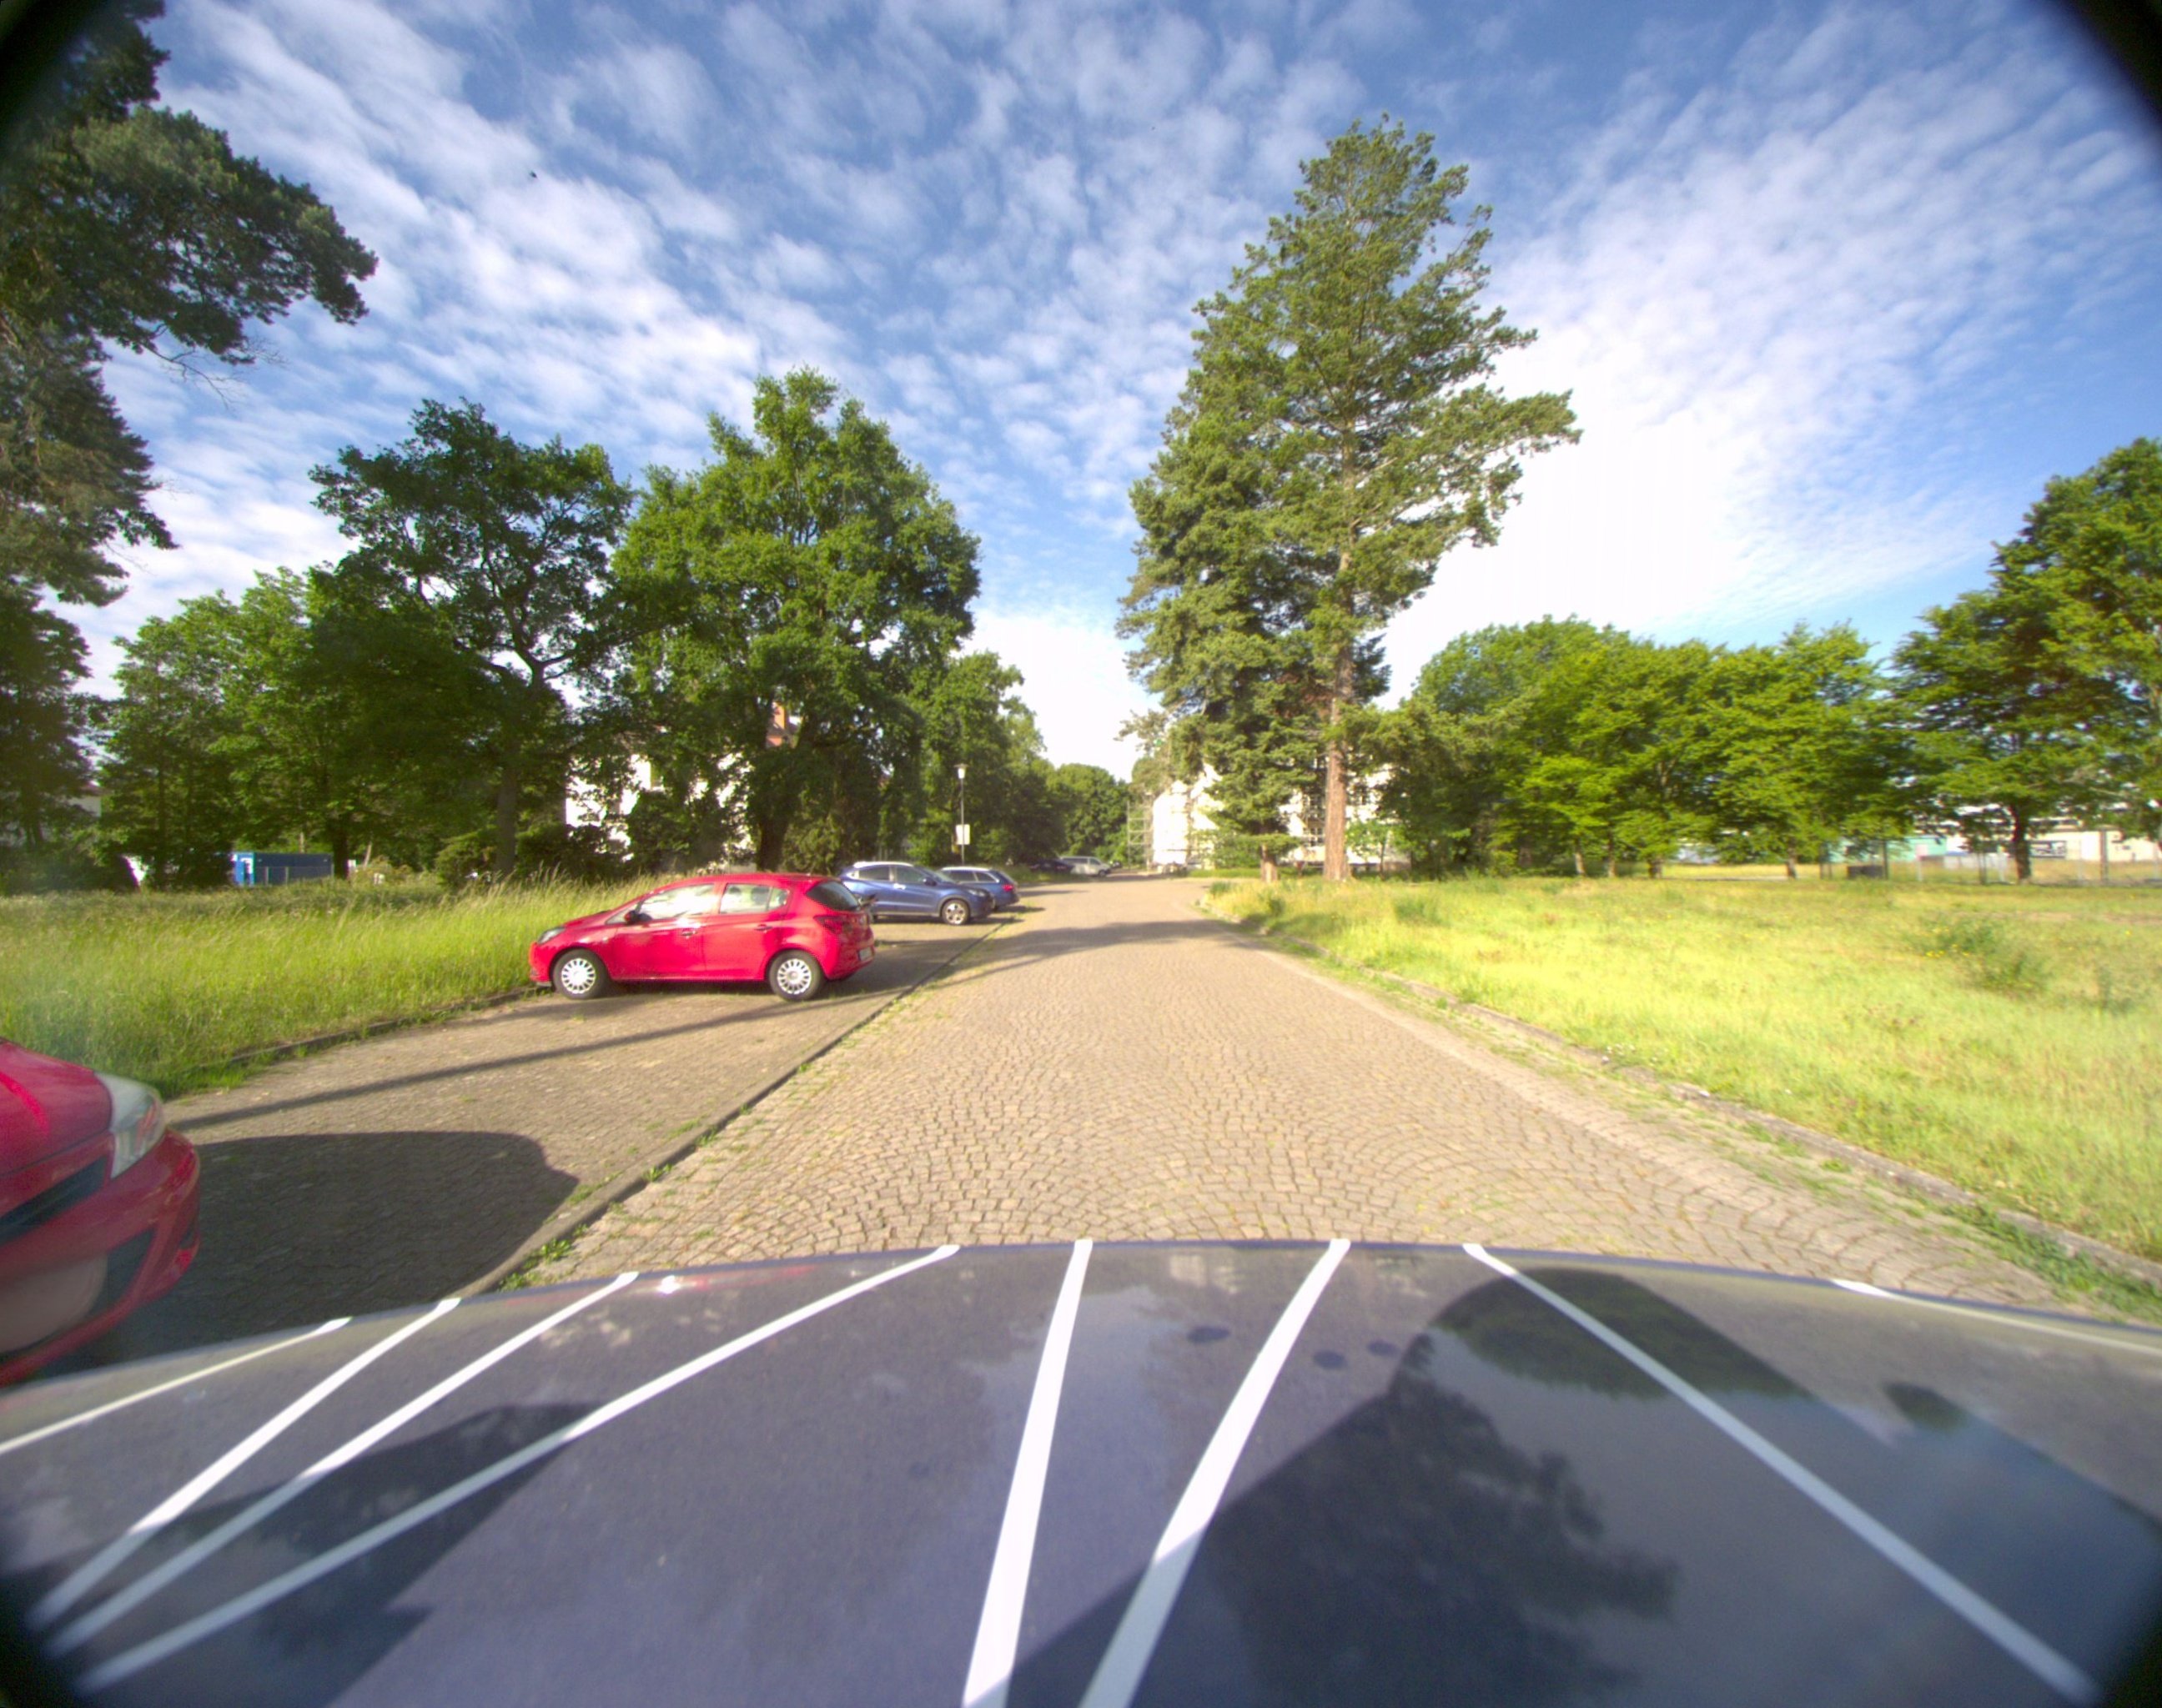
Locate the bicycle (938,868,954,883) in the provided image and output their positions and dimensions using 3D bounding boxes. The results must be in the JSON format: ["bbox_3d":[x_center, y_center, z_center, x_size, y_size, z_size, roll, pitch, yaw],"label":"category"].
[{"bbox_3d":[-9.441,1.500,53.107,0.710,1.010,1.257,-1,0,8],"label":"bicycle"}]

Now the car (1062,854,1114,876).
[{"bbox_3d":[0.663,1.037,73.127,4.936,2.002,2.000,-1,0,1],"label":"car"}]

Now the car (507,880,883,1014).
[{"bbox_3d":[-4.595,1.090,9.453,3.837,1.470,1.645,0,0,-1],"label":"car"}]

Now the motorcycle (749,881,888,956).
[{"bbox_3d":[-4.810,1.174,14.006,2.305,1.312,0.726,0,0,0],"label":"motorcycle"}]

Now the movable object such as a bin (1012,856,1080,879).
[{"bbox_3d":[-2.756,1.033,60.294,4.931,1.749,2.002,-1,0,15],"label":"movable object such as a bin"}]

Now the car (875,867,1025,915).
[{"bbox_3d":[-4.148,1.166,24.499,4.459,1.399,1.714,1,0,4],"label":"car"}]

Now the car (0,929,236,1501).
[{"bbox_3d":[-4.872,1.041,1.867,3.771,1.521,1.645,-1,0,1],"label":"car"}]

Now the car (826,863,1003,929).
[{"bbox_3d":[-4.223,1.048,19.747,4.187,1.581,1.751,-1,0,0],"label":"car"}]
